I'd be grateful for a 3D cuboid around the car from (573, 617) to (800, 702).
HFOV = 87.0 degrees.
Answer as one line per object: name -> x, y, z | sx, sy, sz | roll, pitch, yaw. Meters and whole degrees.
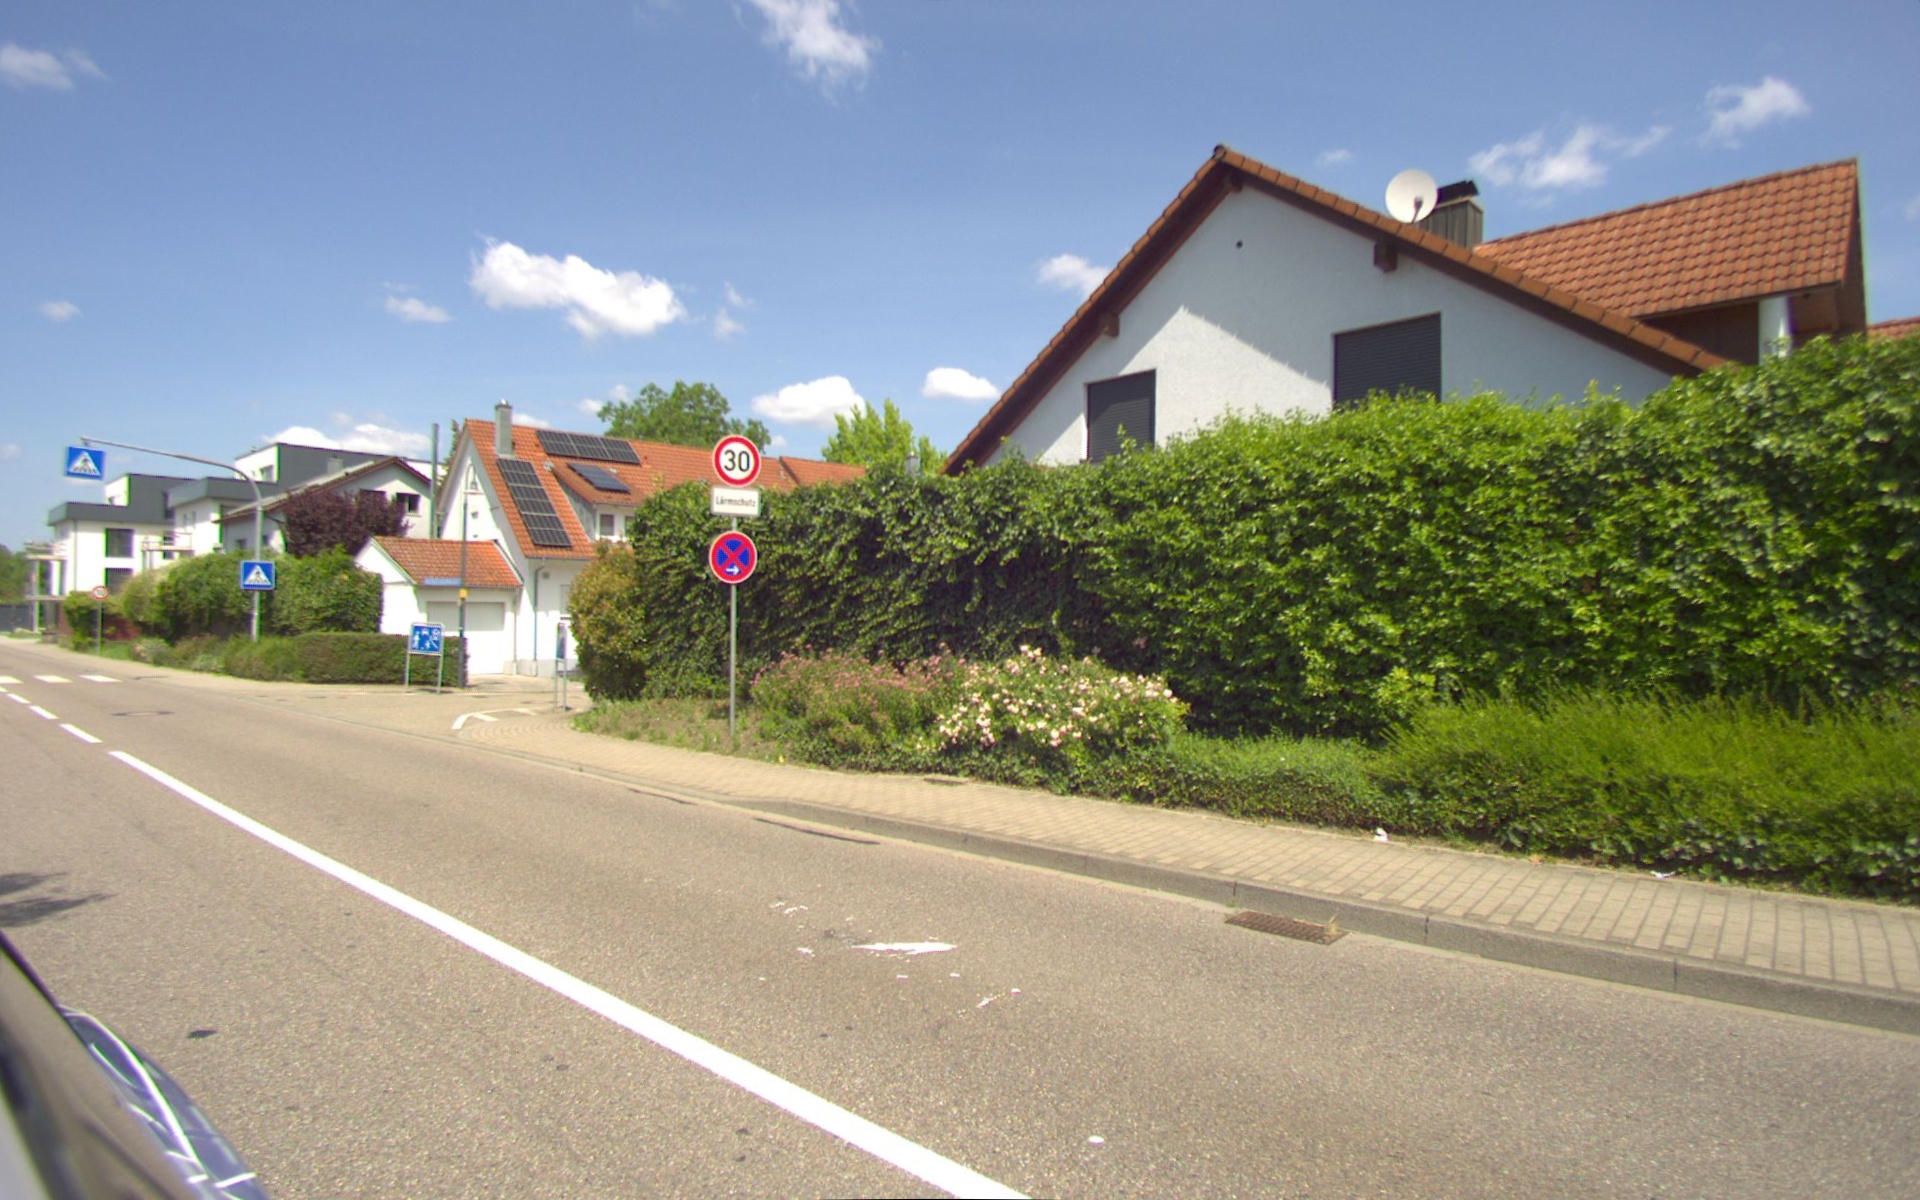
car -> -6.569, 1.411, 24.727 | 4.992, 1.866, 2.002 | 3, -3, -43
